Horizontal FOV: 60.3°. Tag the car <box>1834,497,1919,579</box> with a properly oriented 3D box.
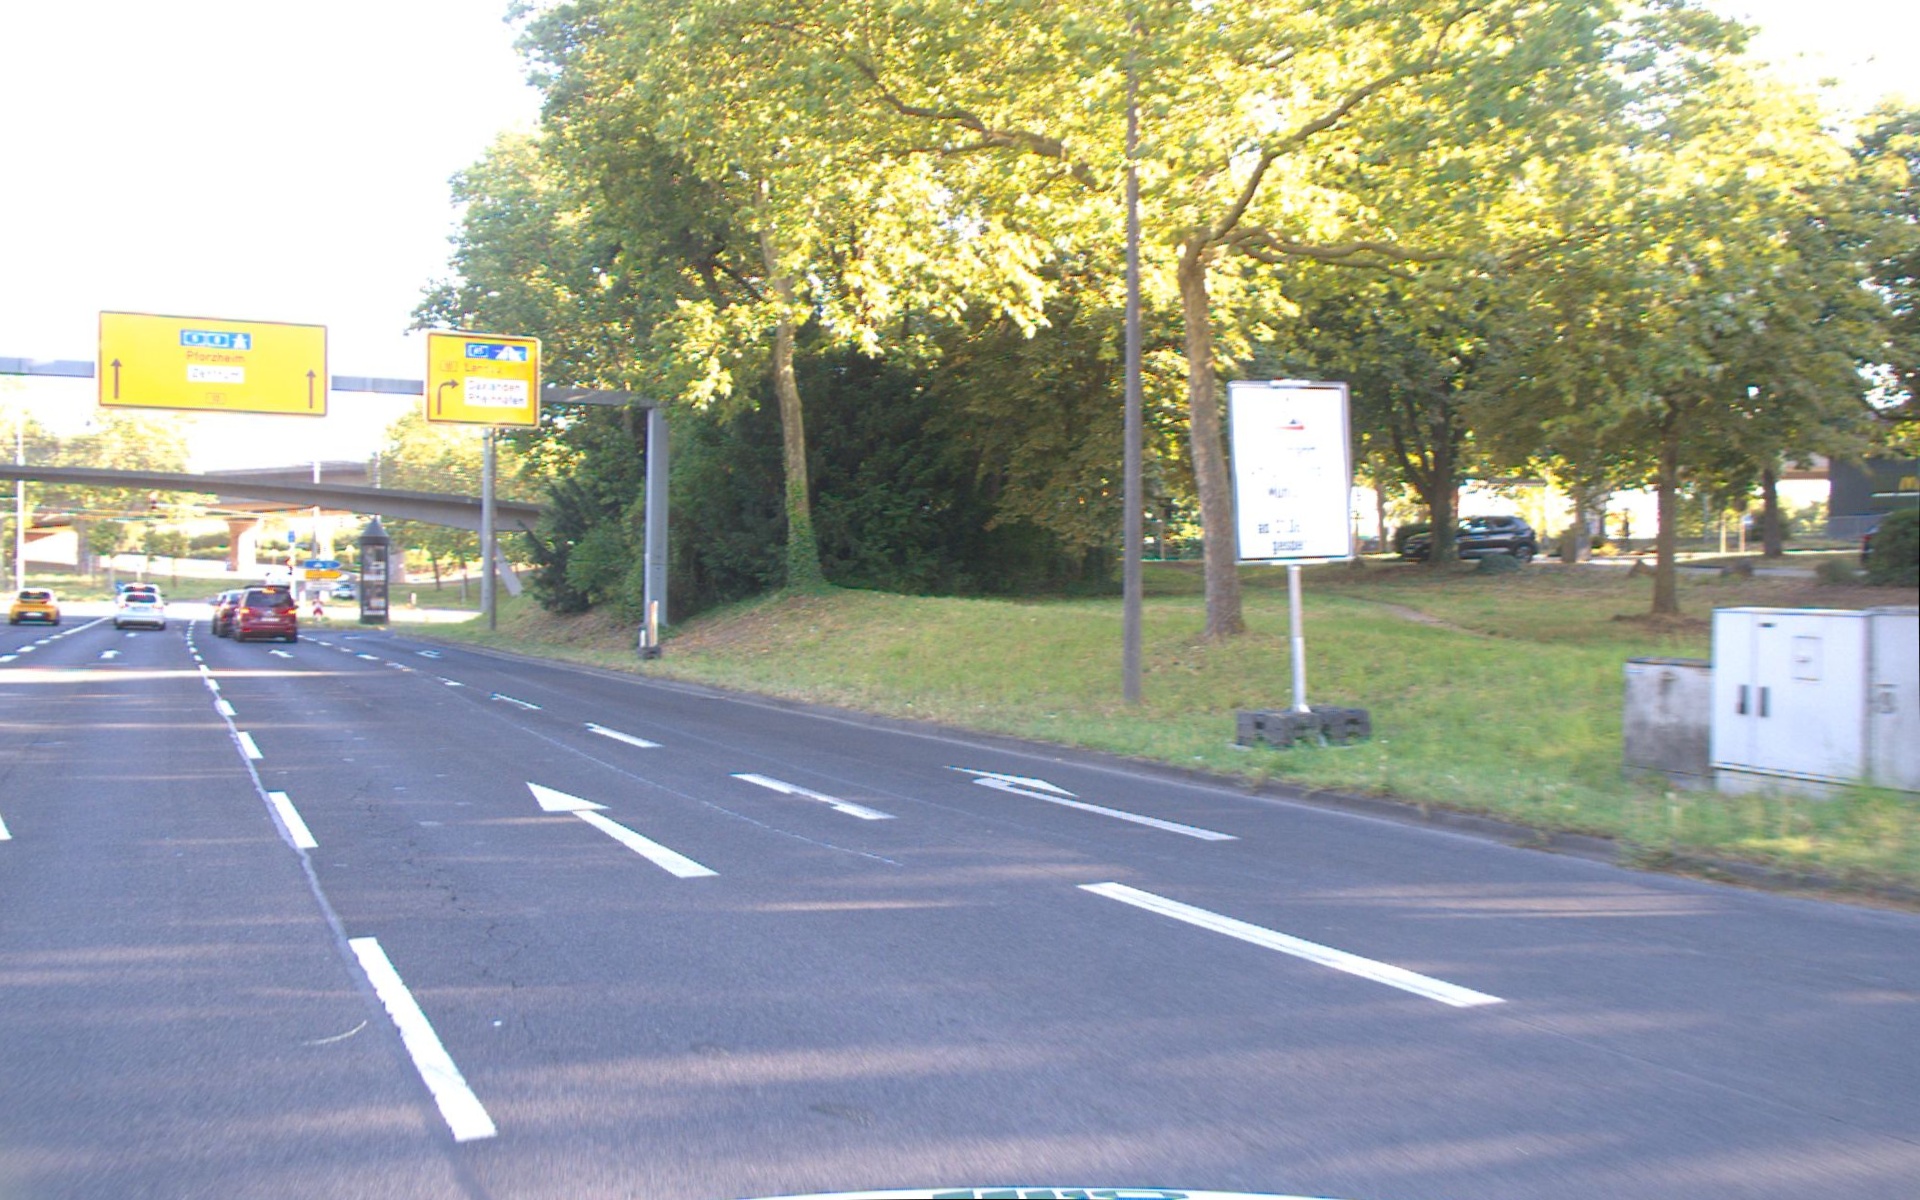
[{"bbox_3d":[21.585,-1.372,37.086,4.176,1.717,1.806,-2,1,-35],"label":"car"}]

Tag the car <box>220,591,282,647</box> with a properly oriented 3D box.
[{"bbox_3d":[-24.482,0.603,57.021,1.770,1.780,4.206,-2,1,-25],"label":"car"}]

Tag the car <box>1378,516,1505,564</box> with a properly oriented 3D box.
[{"bbox_3d":[16.863,-2.095,57.973,3.916,1.579,1.803,-1,1,-12],"label":"car"}]

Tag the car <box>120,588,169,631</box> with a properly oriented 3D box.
[{"bbox_3d":[-32.580,0.364,66.150,1.642,1.592,4.156,-2,1,-25],"label":"car"}]

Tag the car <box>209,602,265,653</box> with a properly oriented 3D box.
[{"bbox_3d":[-27.309,1.000,62.410,1.770,1.780,3.968,-2,1,-25],"label":"car"}]

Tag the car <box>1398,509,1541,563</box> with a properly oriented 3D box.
[{"bbox_3d":[15.643,-1.949,50.797,3.929,1.579,1.797,-1,1,-21],"label":"car"}]

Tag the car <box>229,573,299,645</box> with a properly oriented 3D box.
[{"bbox_3d":[-21.731,0.237,51.550,1.770,2.141,3.967,-1,1,-26],"label":"car"}]

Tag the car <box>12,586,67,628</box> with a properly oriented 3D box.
[{"bbox_3d":[-37.400,0.259,67.255,1.642,1.592,3.968,-2,1,-25],"label":"car"}]
